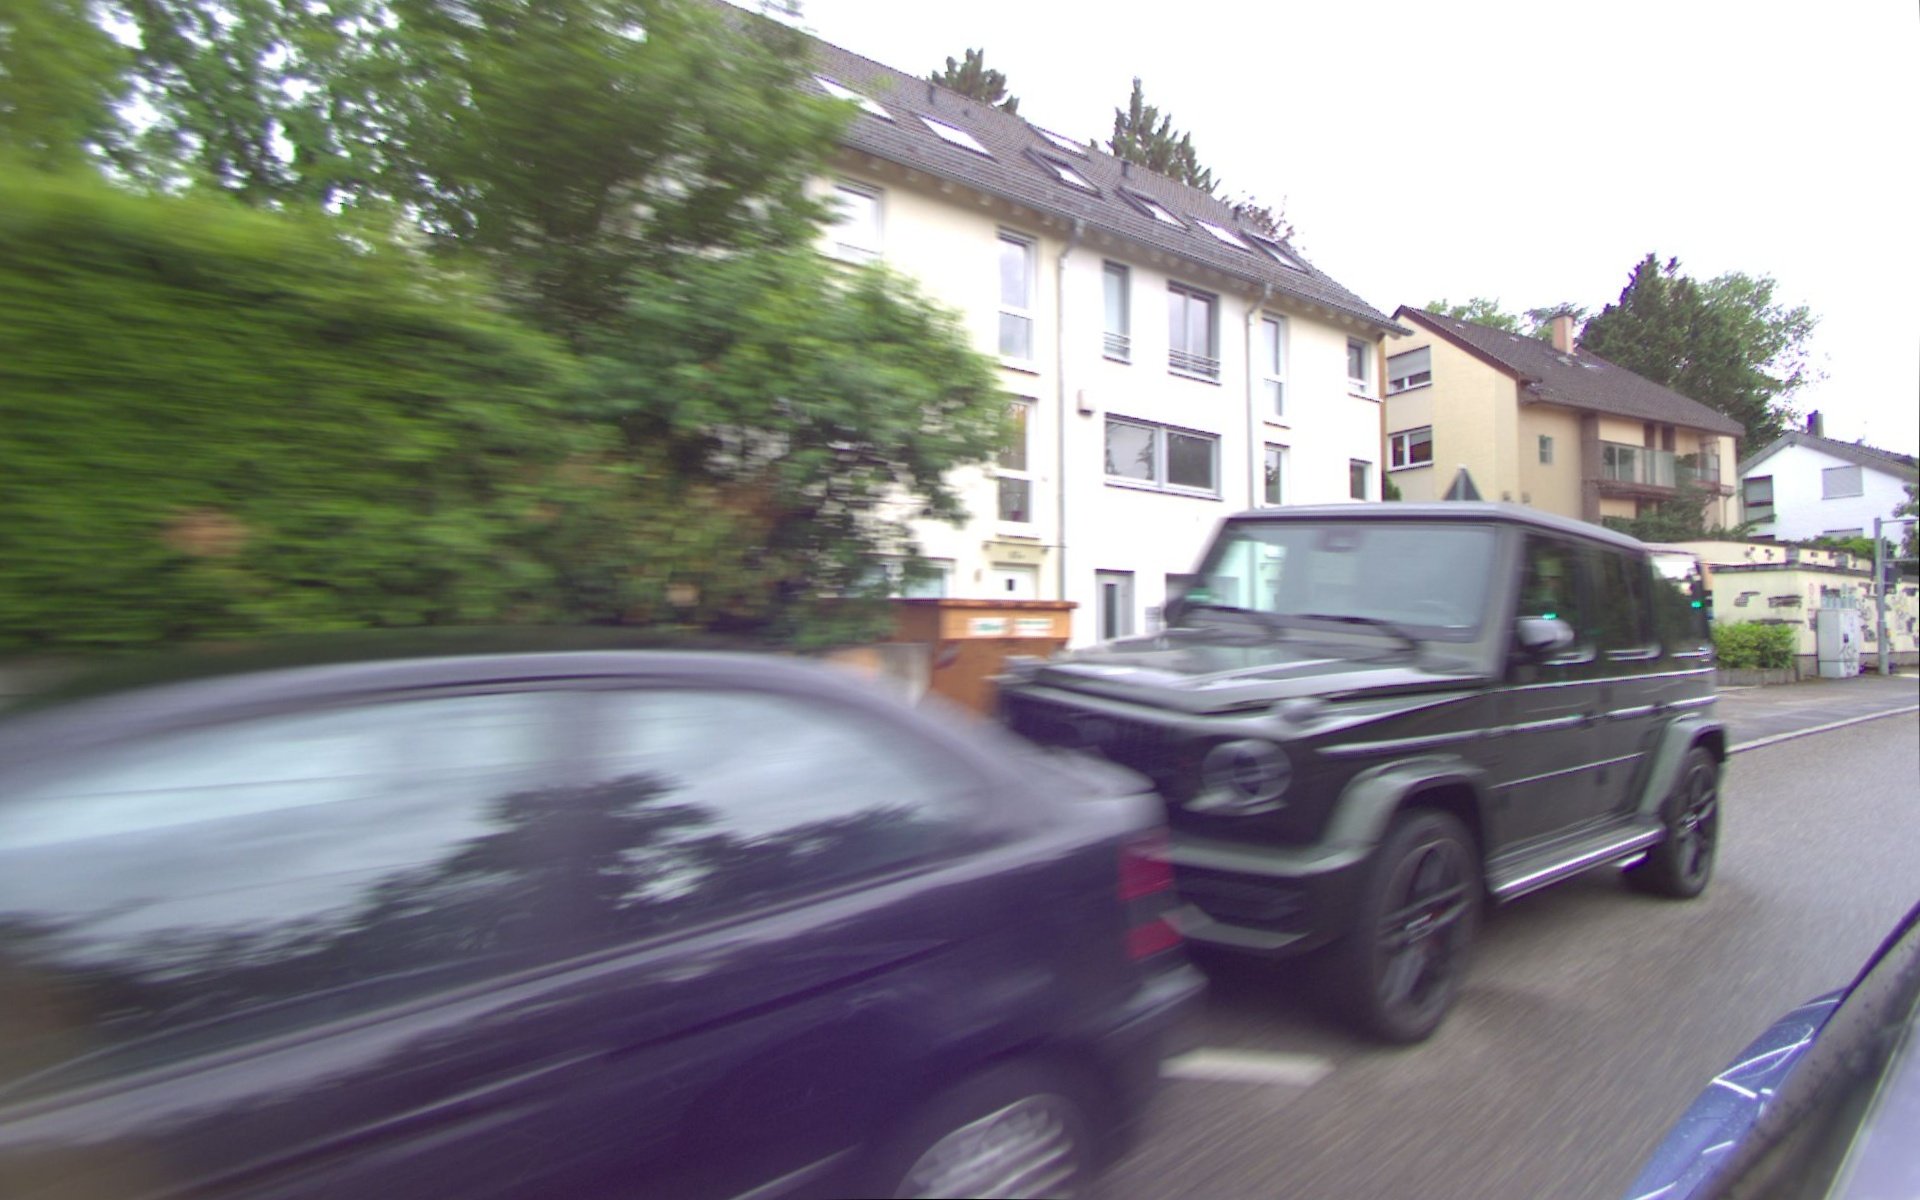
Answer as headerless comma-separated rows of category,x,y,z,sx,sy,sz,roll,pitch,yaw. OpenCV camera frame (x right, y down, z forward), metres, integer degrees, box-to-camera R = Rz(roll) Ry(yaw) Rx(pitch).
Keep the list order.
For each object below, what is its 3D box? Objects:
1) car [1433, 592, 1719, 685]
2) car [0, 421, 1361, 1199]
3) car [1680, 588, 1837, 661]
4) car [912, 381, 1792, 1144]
car,11.984,0.803,19.974,1.955,1.617,4.338,0,-4,-36
car,-1.420,0.619,1.721,4.313,1.616,1.938,0,2,-37
car,19.428,0.583,24.570,4.262,1.617,1.936,0,-4,-38
car,2.302,0.412,5.047,4.868,2.039,1.998,0,1,-40
